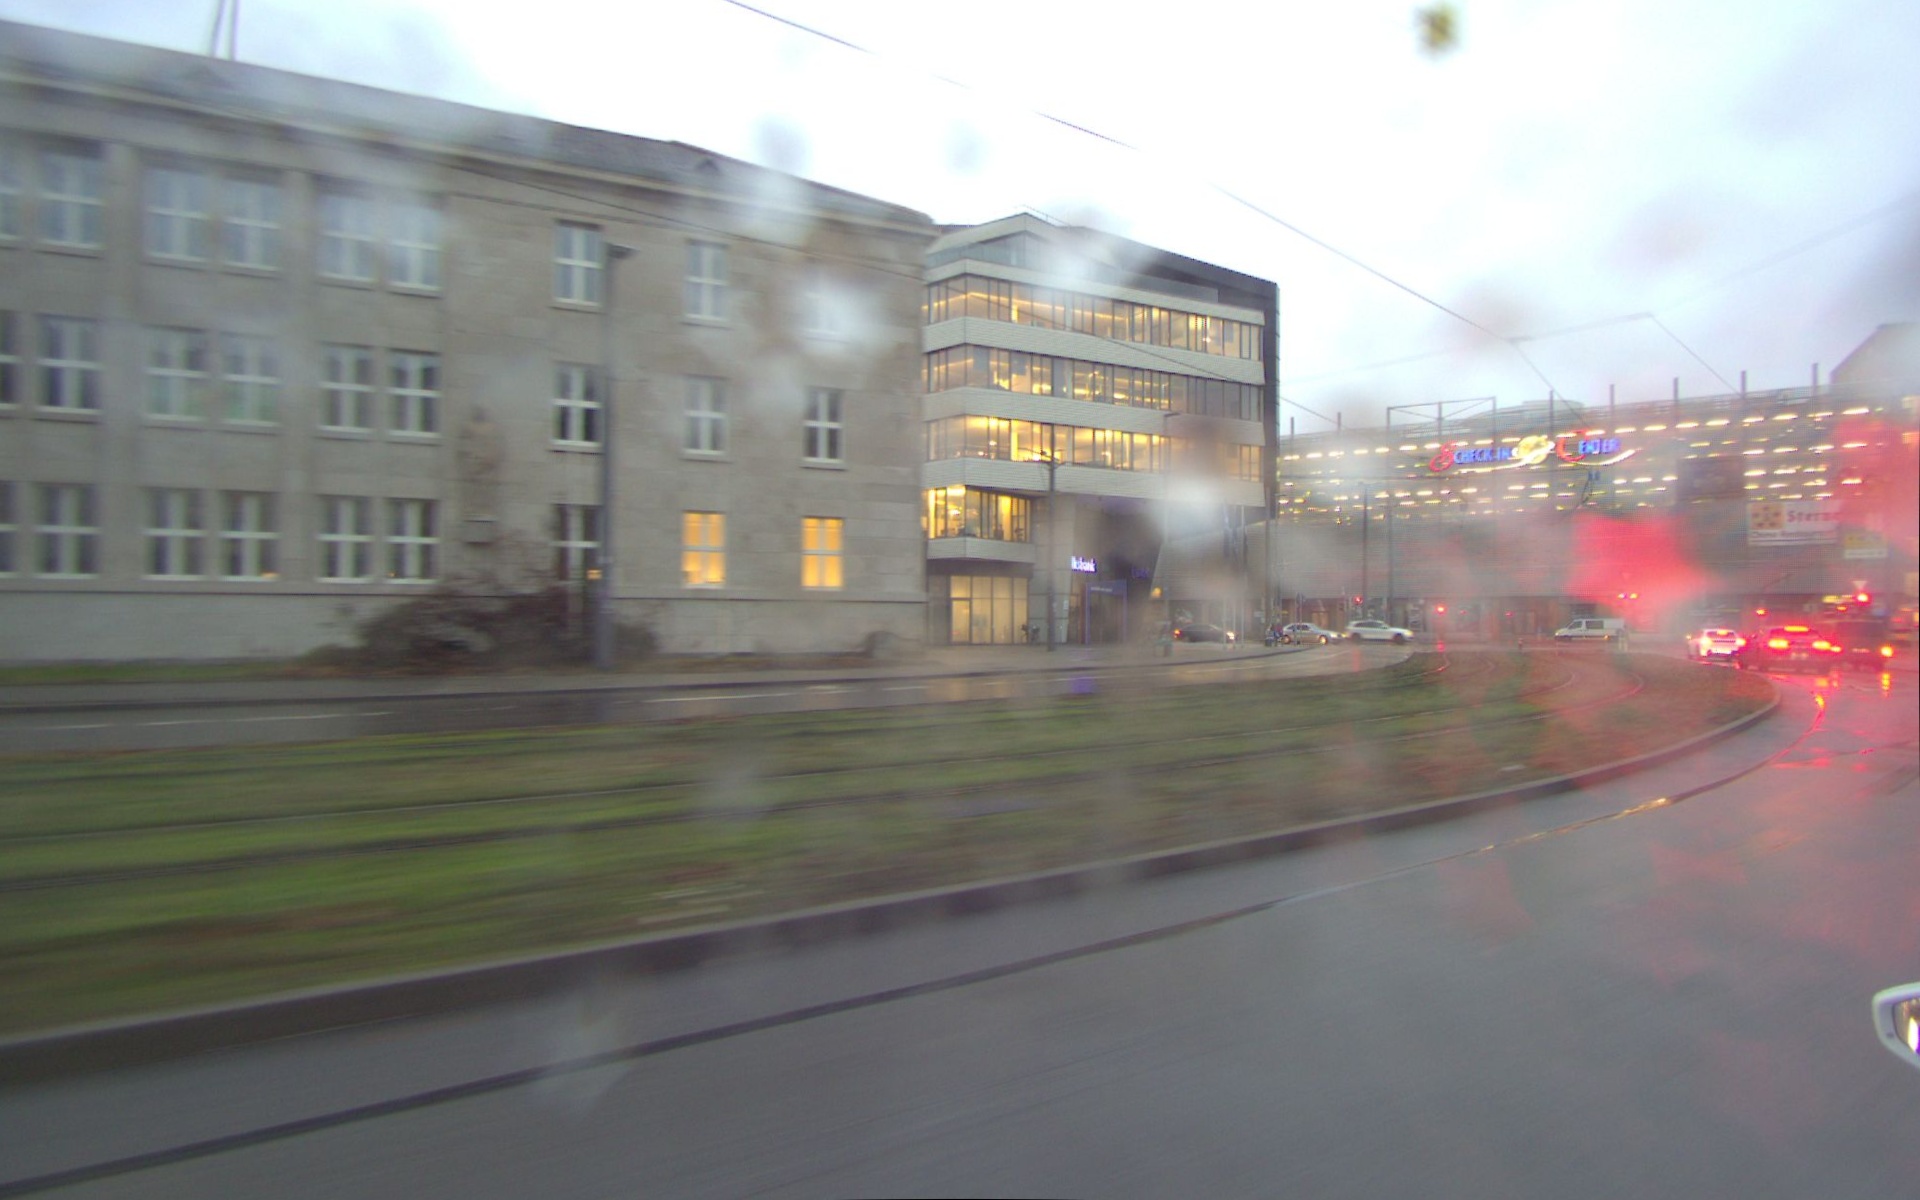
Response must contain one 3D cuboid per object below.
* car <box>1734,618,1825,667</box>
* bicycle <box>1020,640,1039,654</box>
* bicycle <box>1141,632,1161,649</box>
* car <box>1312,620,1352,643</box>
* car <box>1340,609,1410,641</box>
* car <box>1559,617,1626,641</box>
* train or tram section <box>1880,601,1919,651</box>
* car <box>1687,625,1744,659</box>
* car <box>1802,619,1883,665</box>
[{"bbox_3d":[28.745,1.475,35.361,1.727,1.594,3.994,-1,-2,28],"label":"car"},{"bbox_3d":[3.752,2.518,54.279,0.904,0.724,0.479,1,-2,-37],"label":"bicycle"},{"bbox_3d":[12.279,2.601,64.460,0.548,1.104,1.604,-1,-2,40],"label":"bicycle"},{"bbox_3d":[25.433,2.151,68.625,1.794,1.454,4.646,2,0,30],"label":"car"},{"bbox_3d":[29.164,1.723,70.653,4.291,2.040,1.997,2,0,29],"label":"car"},{"bbox_3d":[58.265,2.677,92.585,5.001,1.988,1.888,2,0,28],"label":"car"},{"bbox_3d":[69.914,1.650,64.596,16.328,3.303,2.338,-1,-2,18],"label":"train or tram section"},{"bbox_3d":[35.358,1.938,47.074,1.859,1.505,3.989,-1,-2,33],"label":"car"},{"bbox_3d":[35.213,1.663,40.171,1.611,1.719,3.666,1,-1,28],"label":"car"}]
